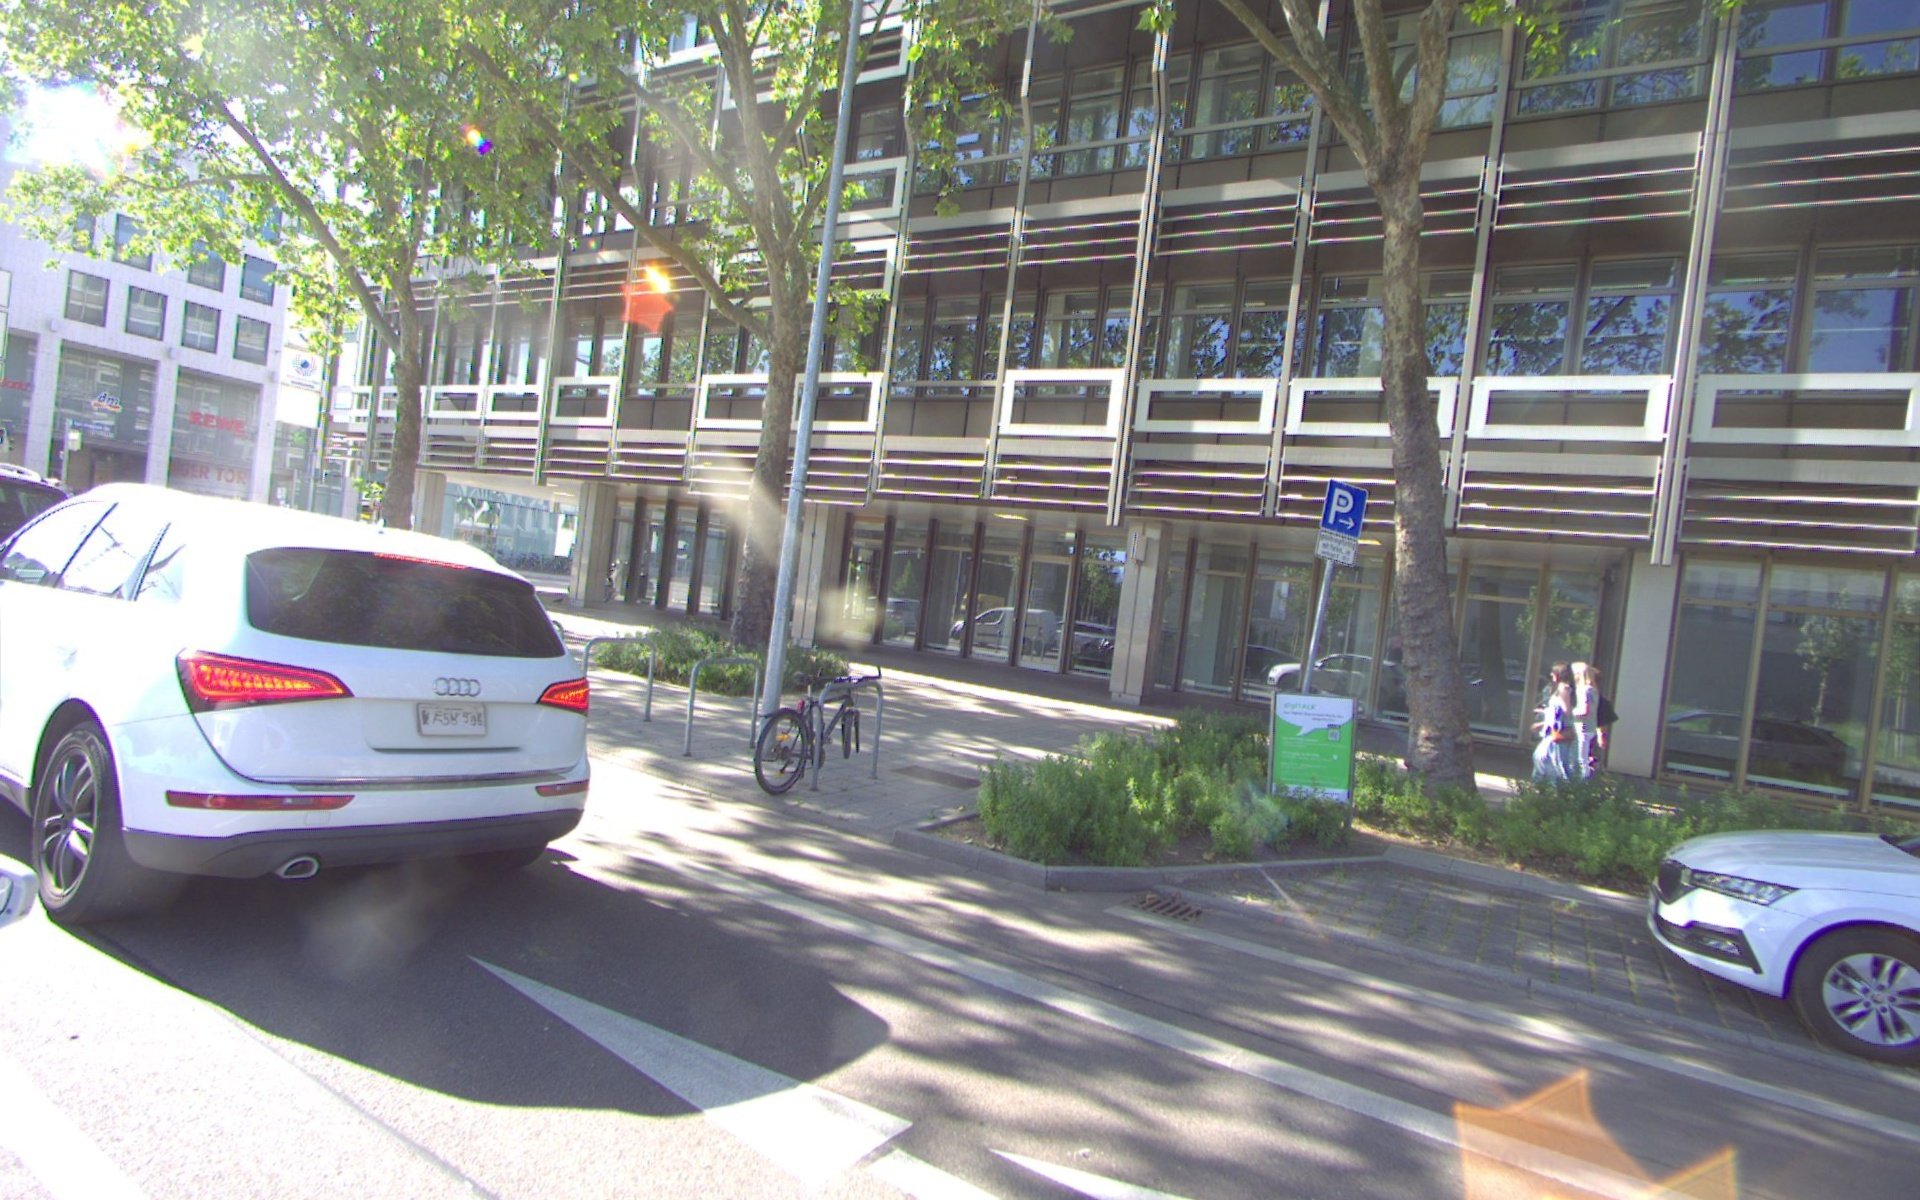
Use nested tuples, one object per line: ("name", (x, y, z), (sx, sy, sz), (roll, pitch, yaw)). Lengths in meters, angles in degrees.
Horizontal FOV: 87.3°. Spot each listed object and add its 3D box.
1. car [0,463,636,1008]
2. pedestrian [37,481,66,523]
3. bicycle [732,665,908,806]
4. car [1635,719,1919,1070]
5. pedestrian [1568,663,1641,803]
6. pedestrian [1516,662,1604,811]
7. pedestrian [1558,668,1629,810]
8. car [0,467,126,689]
("car", (-3.733, 0.300, 4.957), (4.118, 1.638, 1.723), (7, 0, 33))
("pedestrian", (-33.863, -3.651, 37.495), (0.622, 1.457, 0.562), (6, -2, 38))
("bicycle", (-1.110, 1.068, 8.348), (0.470, 0.970, 1.696), (8, 1, 27))
("car", (6.228, 1.745, 5.017), (4.524, 1.511, 1.706), (7, 0, 32))
("pedestrian", (7.978, 1.627, 12.480), (0.563, 1.622, 0.554), (8, 1, 31))
("pedestrian", (6.948, 1.559, 11.670), (0.623, 1.604, 0.507), (8, 1, 23))
("pedestrian", (7.544, 1.641, 11.993), (0.492, 1.604, 0.316), (8, 1, 23))
("car", (-9.051, -0.397, 8.496), (4.116, 1.673, 1.724), (7, 0, 31))
